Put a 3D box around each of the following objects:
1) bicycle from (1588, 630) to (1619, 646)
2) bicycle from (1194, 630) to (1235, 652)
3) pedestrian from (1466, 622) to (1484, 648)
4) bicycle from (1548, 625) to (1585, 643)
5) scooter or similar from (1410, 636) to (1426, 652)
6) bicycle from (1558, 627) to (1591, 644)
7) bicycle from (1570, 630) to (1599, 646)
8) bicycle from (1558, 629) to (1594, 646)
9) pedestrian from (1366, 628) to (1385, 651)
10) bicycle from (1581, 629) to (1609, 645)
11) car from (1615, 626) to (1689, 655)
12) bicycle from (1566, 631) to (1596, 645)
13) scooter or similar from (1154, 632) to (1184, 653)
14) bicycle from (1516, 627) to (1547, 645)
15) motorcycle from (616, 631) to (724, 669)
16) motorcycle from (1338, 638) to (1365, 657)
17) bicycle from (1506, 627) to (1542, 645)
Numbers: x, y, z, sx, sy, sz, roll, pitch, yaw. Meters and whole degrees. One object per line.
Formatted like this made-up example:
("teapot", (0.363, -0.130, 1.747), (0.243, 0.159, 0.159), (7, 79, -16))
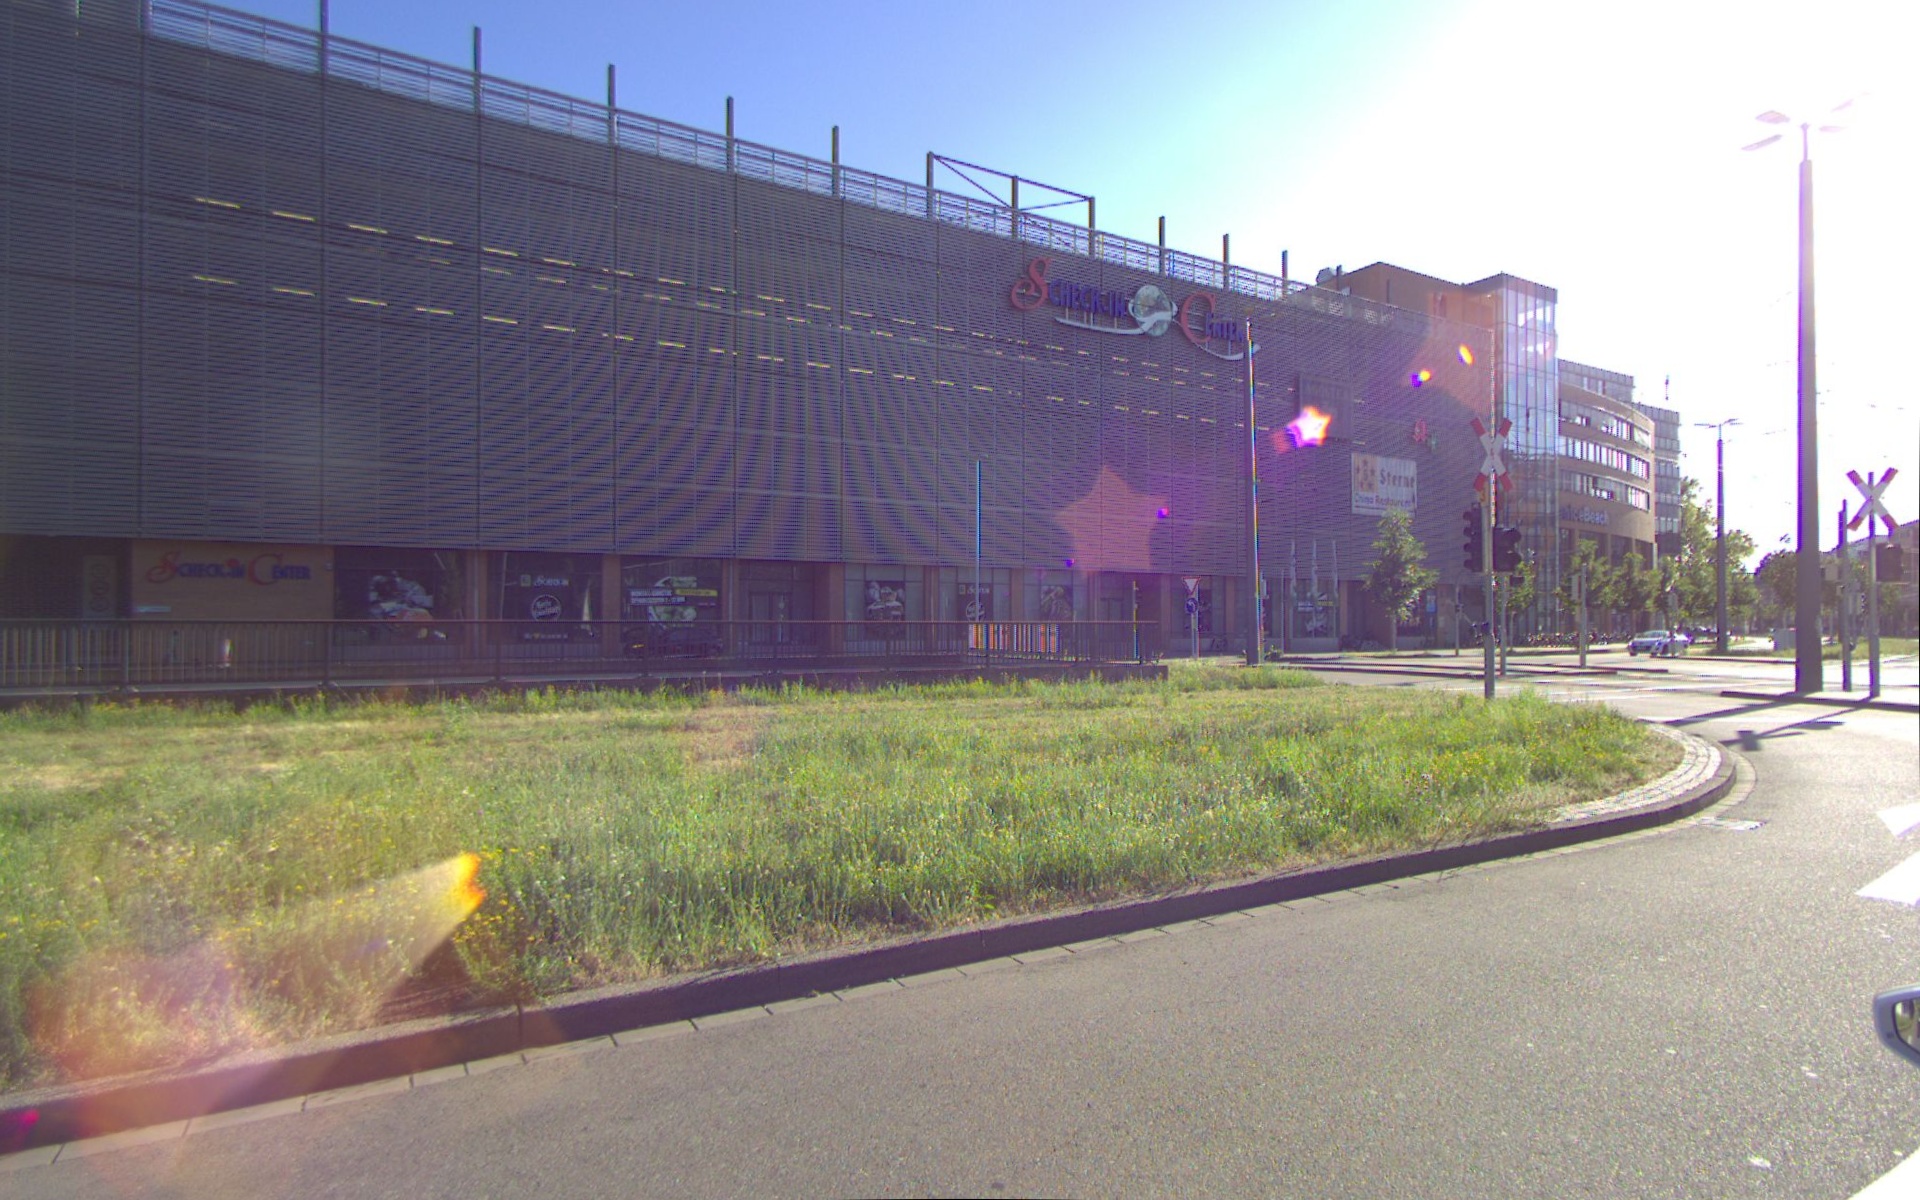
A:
("bicycle", (59.521, 3.534, 92.968), (0.777, 1.452, 2.417), (1, -2, -21))
("bicycle", (14.691, 2.345, 58.055), (2.384, 1.237, 0.797), (1, -1, -27))
("pedestrian", (37.462, 2.569, 73.096), (0.894, 1.848, 0.823), (2, -3, -29))
("bicycle", (49.534, 2.818, 82.104), (0.891, 1.452, 2.558), (1, -2, -21))
("scooter or similar", (32.130, 3.069, 70.449), (1.138, 1.124, 0.419), (2, -3, -30))
("bicycle", (54.997, 3.175, 89.952), (0.760, 1.452, 2.603), (1, -2, -21))
("bicycle", (56.783, 3.434, 91.363), (0.707, 1.452, 2.242), (1, -2, -21))
("bicycle", (51.248, 3.132, 83.587), (0.891, 1.452, 2.558), (1, -2, -21))
("pedestrian", (28.950, 2.743, 69.979), (0.819, 1.586, 0.983), (2, -3, -30))
("bicycle", (58.461, 3.445, 92.490), (0.747, 1.452, 2.135), (1, -2, -21))
("car", (39.499, 2.280, 57.314), (4.482, 1.566, 1.982), (1, -1, -34))
("bicycle", (56.130, 3.445, 90.807), (0.734, 1.252, 2.410), (1, -2, -21))
("scooter or similar", (12.213, 2.494, 58.717), (1.555, 1.222, 0.790), (2, -3, -30))
("bicycle", (45.343, 2.859, 79.692), (0.848, 1.452, 2.080), (1, -2, -21))
("motorcycle", (-11.944, 2.022, 41.440), (3.953, 1.472, 1.984), (0, -1, -30))
("motorcycle", (25.218, 3.056, 64.683), (1.872, 1.255, 0.672), (2, -2, -31))
("bicycle", (44.520, 2.854, 79.362), (1.060, 1.452, 2.366), (1, -2, -21))
